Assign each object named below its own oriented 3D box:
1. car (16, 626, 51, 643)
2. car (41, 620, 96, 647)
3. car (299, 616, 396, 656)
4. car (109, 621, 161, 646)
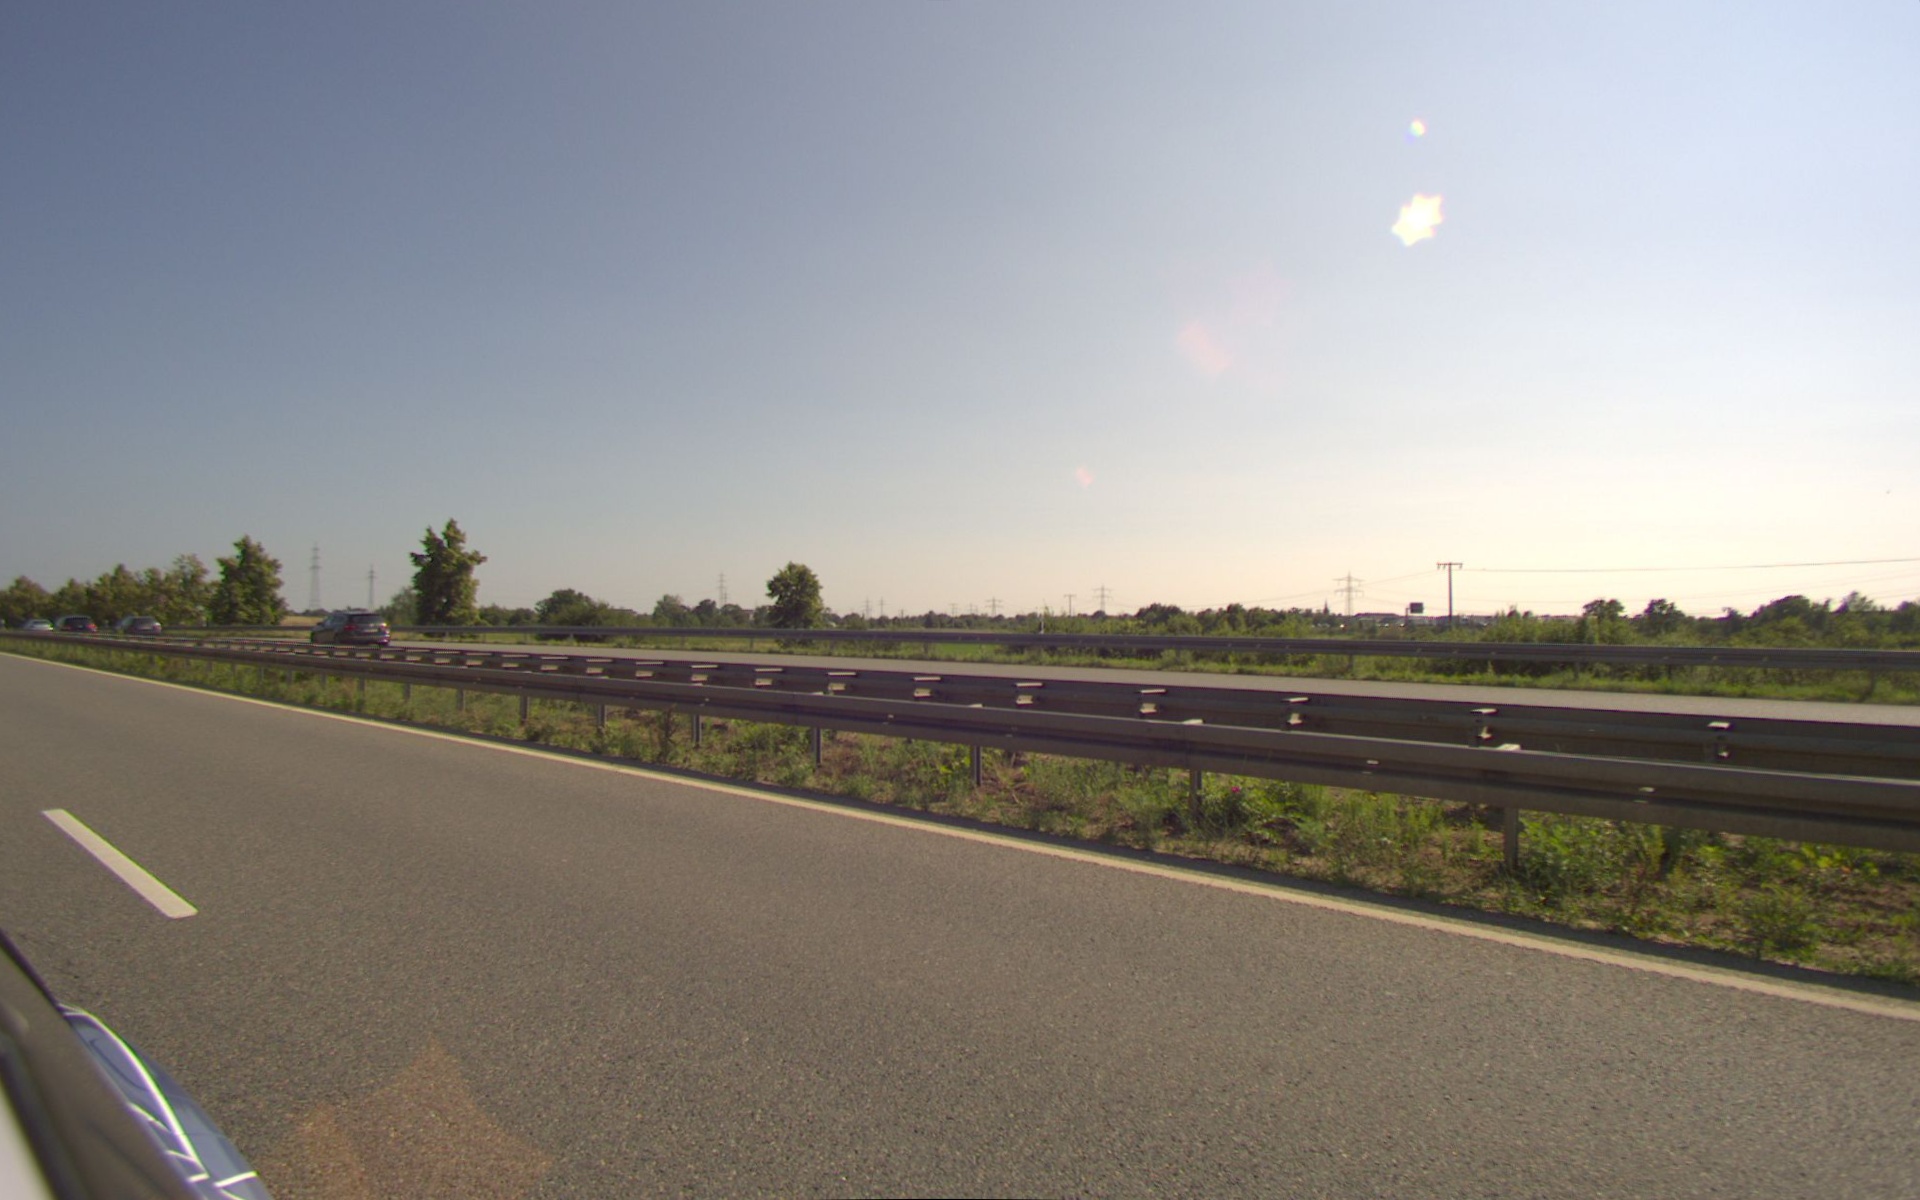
[{"bbox_3d":[-82.166,3.033,89.713,4.413,1.406,1.802,-1,1,41],"label":"car"},{"bbox_3d":[-51.303,1.916,58.196,4.321,1.484,1.796,-2,0,41],"label":"car"},{"bbox_3d":[-24.363,1.390,40.162,4.932,1.445,1.849,-1,0,41],"label":"car"},{"bbox_3d":[-51.036,2.061,62.598,4.319,1.461,1.696,-1,-1,40],"label":"car"}]
